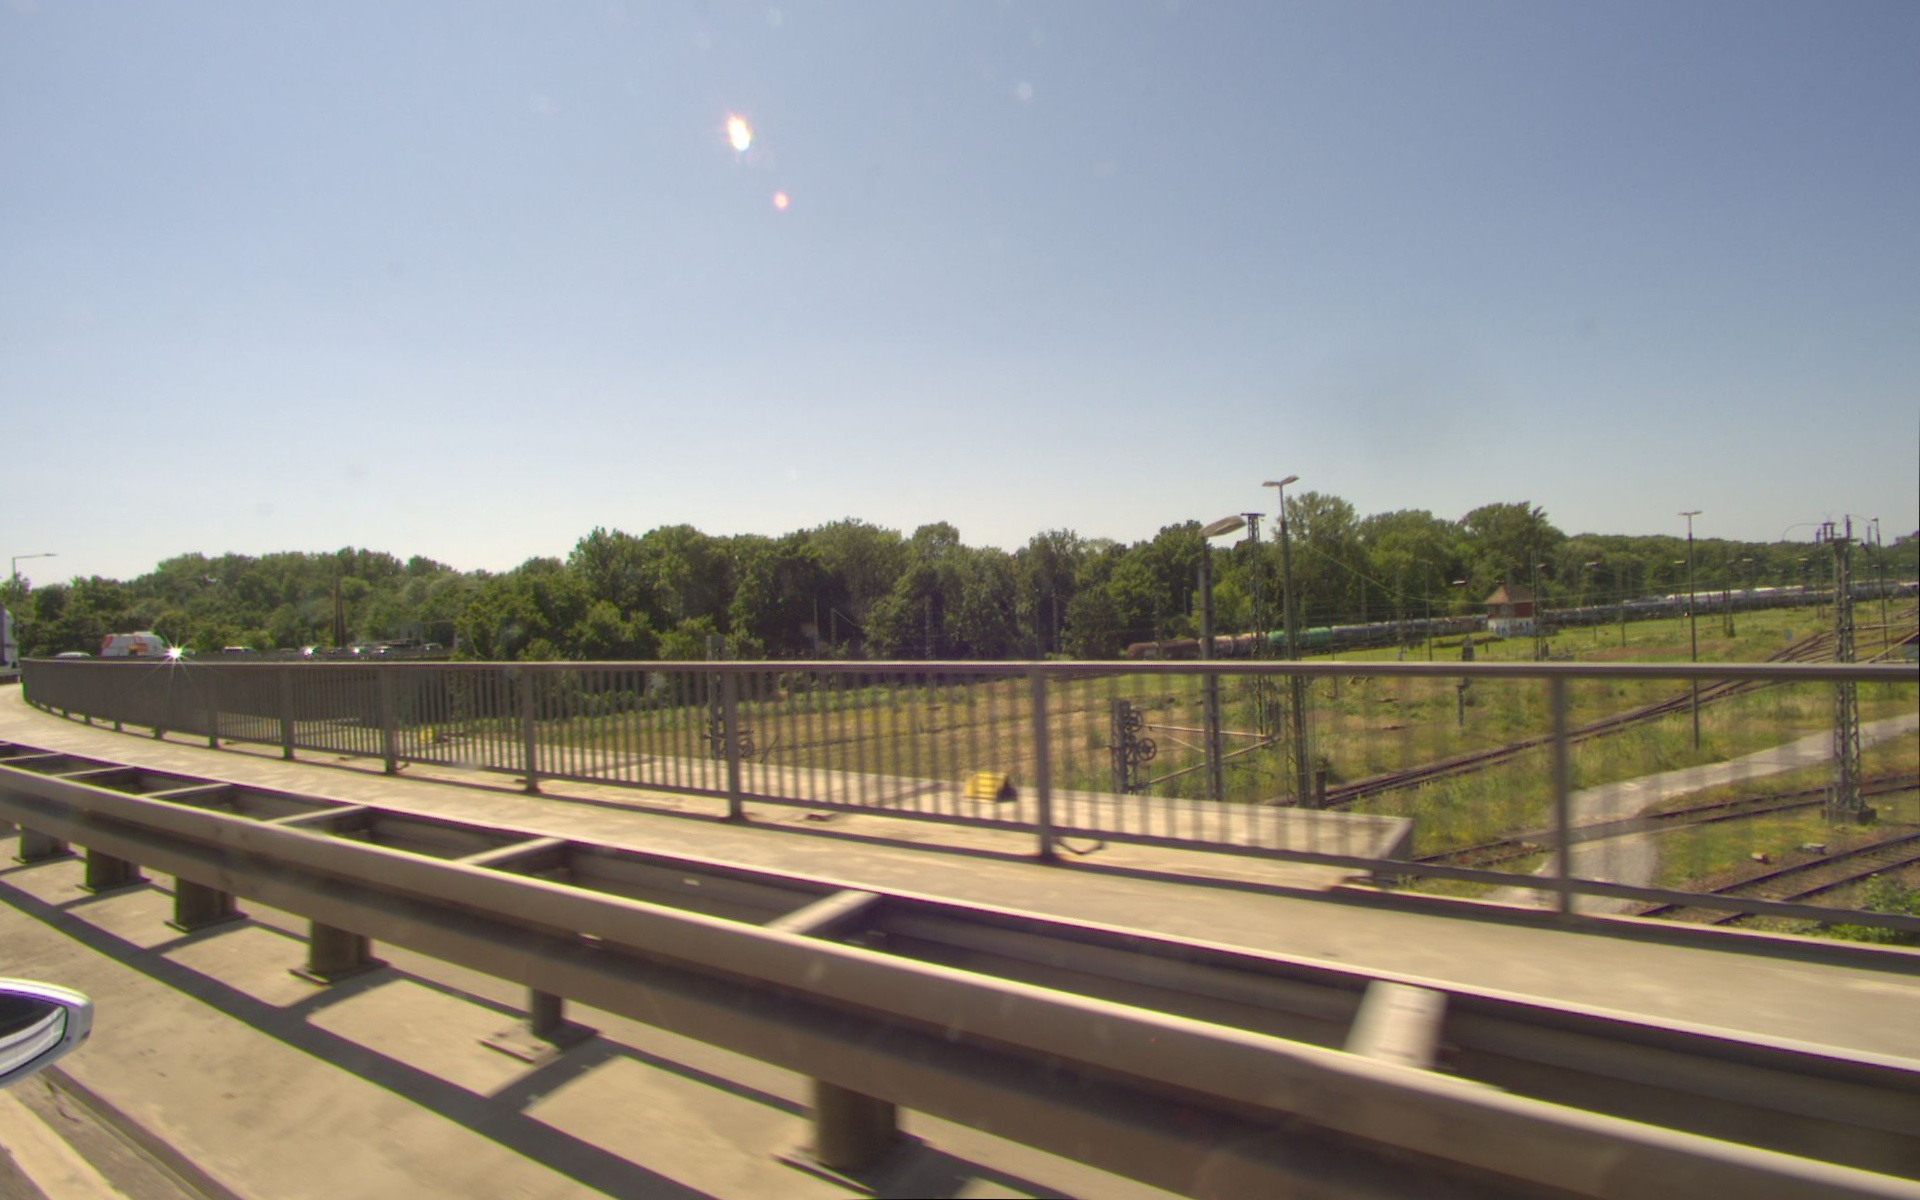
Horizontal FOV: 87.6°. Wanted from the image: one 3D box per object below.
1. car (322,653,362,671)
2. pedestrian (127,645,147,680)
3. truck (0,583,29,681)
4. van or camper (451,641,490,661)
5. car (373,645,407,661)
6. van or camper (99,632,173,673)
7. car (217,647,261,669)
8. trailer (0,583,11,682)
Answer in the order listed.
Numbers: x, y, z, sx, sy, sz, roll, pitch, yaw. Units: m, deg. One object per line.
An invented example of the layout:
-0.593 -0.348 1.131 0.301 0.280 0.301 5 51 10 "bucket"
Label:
-65.653 6.616 106.458 1.858 1.872 4.003 -1 -3 -3 "car"
-47.767 3.642 58.125 0.728 1.992 0.732 0 -3 -26 "pedestrian"
-48.175 1.622 48.637 3.139 4.641 7.353 1 -3 -34 "truck"
-69.403 7.244 142.017 2.444 2.318 4.969 4 -6 6 "van or camper"
-66.362 6.162 116.612 1.858 1.872 4.003 -1 -3 -3 "car"
-58.197 3.682 70.862 2.173 2.745 5.913 0 -2 -20 "van or camper"
-62.395 5.027 86.723 1.861 1.872 3.997 0 -3 -16 "car"
-44.191 1.253 42.823 3.104 4.670 12.870 1 -4 -34 "trailer"
